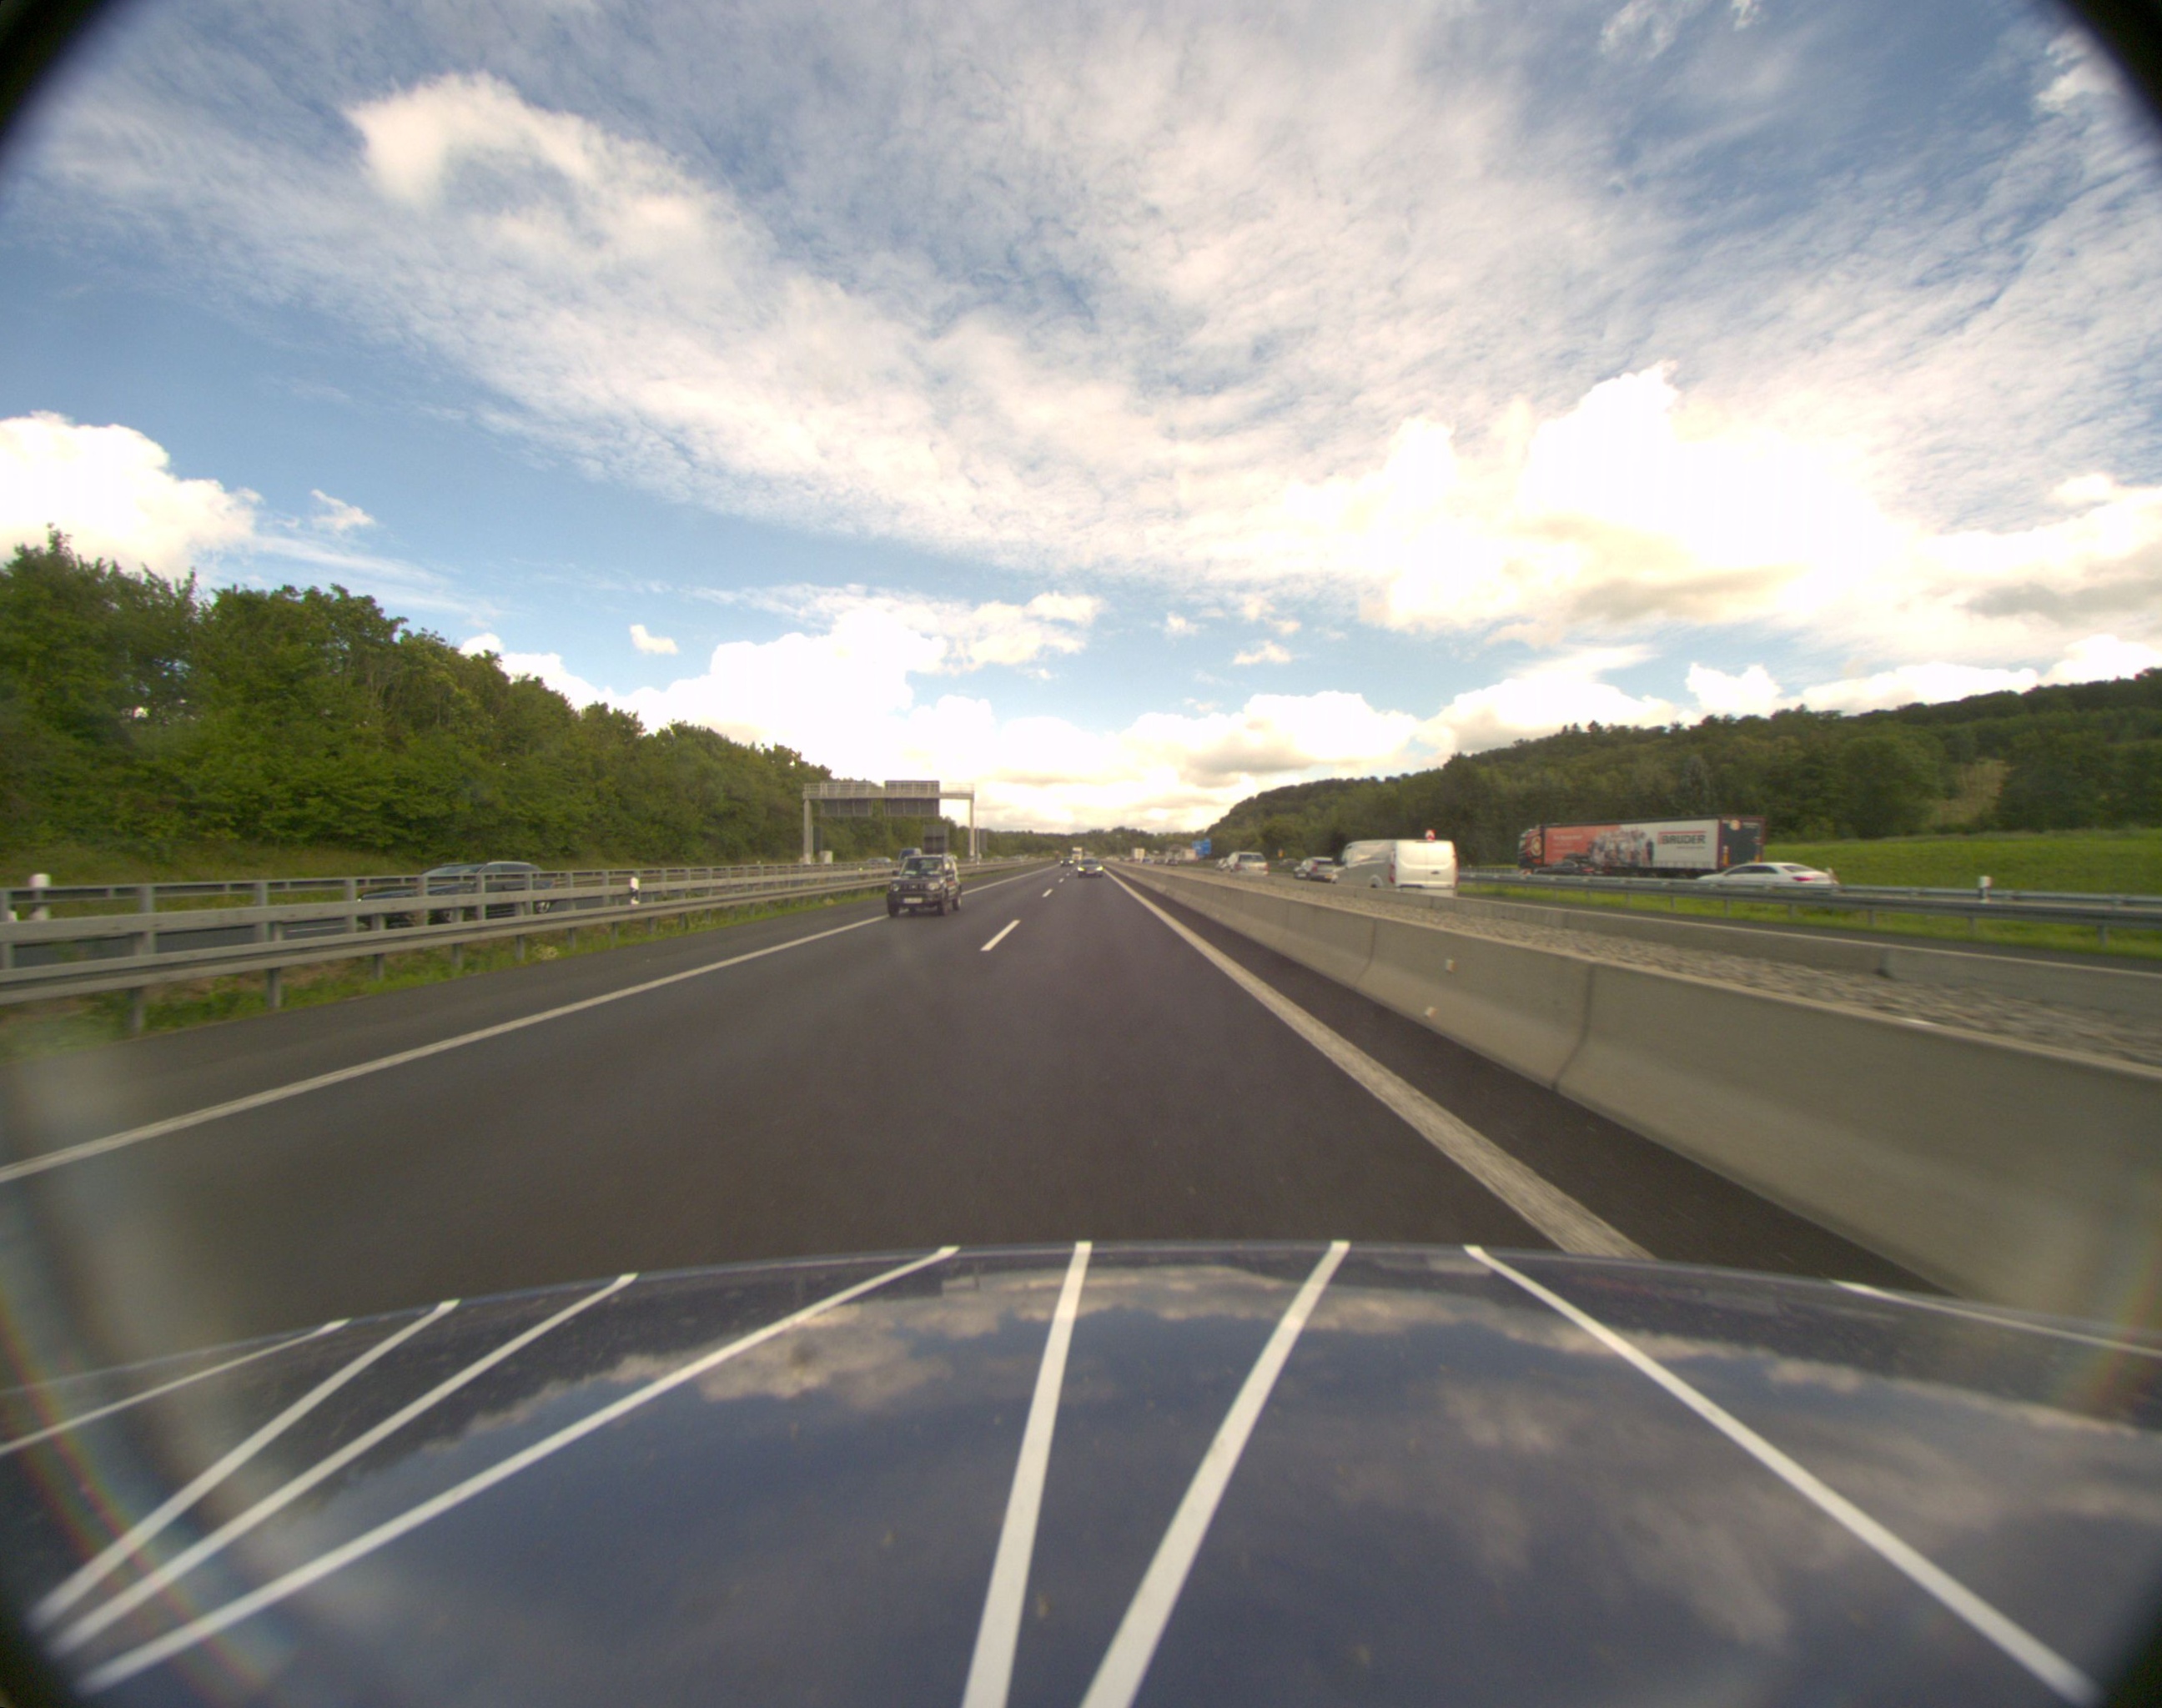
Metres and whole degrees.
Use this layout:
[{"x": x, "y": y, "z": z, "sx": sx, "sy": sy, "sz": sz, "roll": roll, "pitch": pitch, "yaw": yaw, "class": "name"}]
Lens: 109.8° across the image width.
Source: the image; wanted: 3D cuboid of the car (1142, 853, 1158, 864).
[{"x": 9.885, "y": 0.617, "z": 109.452, "sx": 1.932, "sy": 1.608, "sz": 5.418, "roll": 1, "pitch": 1, "yaw": 1, "class": "car"}]

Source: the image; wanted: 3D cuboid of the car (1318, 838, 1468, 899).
[{"x": 8.765, "y": 0.351, "z": 22.044, "sx": 1.998, "sy": 1.523, "sz": 5.747, "roll": 1, "pitch": 1, "yaw": 0, "class": "car"}]

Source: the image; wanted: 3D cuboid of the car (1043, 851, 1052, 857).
[{"x": -8.243, "y": 0.007, "z": 187.132, "sx": 1.998, "sy": 1.608, "sz": 5.002, "roll": 1, "pitch": 1, "yaw": 2, "class": "car"}]

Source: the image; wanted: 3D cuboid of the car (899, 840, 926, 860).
[{"x": -19.270, "y": -0.438, "z": 87.148, "sx": 1.999, "sy": 2.173, "sz": 5.127, "roll": -1, "pitch": 1, "yaw": 0, "class": "car"}]

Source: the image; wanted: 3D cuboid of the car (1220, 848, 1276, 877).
[{"x": 9.112, "y": 0.417, "z": 41.984, "sx": 1.998, "sy": 1.523, "sz": 5.021, "roll": 1, "pitch": 1, "yaw": 0, "class": "car"}]

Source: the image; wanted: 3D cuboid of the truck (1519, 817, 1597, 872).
[{"x": 33.765, "y": -0.658, "z": 54.011, "sx": 1.999, "sy": 3.740, "sz": 5.147, "roll": 1, "pitch": 1, "yaw": -4, "class": "truck"}]

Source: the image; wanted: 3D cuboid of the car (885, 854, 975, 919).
[{"x": -4.367, "y": 0.881, "z": 22.553, "sx": 1.670, "sy": 1.722, "sz": 4.207, "roll": 0, "pitch": 1, "yaw": 2, "class": "car"}]

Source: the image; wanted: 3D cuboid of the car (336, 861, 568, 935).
[{"x": -14.865, "y": 0.952, "z": 18.358, "sx": 1.999, "sy": 1.476, "sz": 4.310, "roll": -1, "pitch": 1, "yaw": 0, "class": "car"}]

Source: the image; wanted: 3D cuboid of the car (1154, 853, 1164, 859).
[{"x": 19.600, "y": 0.503, "z": 191.494, "sx": 1.998, "sy": 1.608, "sz": 5.002, "roll": 1, "pitch": 1, "yaw": 1, "class": "car"}]

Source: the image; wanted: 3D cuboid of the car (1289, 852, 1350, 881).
[{"x": 13.179, "y": 0.651, "z": 42.274, "sx": 1.998, "sy": 1.523, "sz": 4.507, "roll": 1, "pitch": 1, "yaw": 0, "class": "car"}]

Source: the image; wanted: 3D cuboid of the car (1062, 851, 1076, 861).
[{"x": -1.979, "y": 0.262, "z": 126.632, "sx": 1.998, "sy": 1.591, "sz": 4.001, "roll": 1, "pitch": 0, "yaw": 4, "class": "car"}]

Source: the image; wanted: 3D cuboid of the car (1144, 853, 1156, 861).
[{"x": 14.088, "y": 0.595, "z": 154.694, "sx": 1.998, "sy": 1.608, "sz": 5.002, "roll": 1, "pitch": 1, "yaw": 1, "class": "car"}]

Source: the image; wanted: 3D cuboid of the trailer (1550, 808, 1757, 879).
[{"x": 34.250, "y": -0.594, "z": 46.655, "sx": 1.999, "sy": 3.715, "sz": 13.239, "roll": 1, "pitch": 1, "yaw": -3, "class": "trailer"}]

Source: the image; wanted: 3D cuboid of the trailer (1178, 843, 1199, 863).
[{"x": 29.766, "y": -0.357, "z": 211.479, "sx": 3.117, "sy": 5.130, "sz": 14.713, "roll": 1, "pitch": 1, "yaw": -3, "class": "trailer"}]

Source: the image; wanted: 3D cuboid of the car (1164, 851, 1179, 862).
[{"x": 13.586, "y": 0.321, "z": 114.038, "sx": 1.805, "sy": 1.608, "sz": 4.301, "roll": 1, "pitch": 1, "yaw": 1, "class": "car"}]

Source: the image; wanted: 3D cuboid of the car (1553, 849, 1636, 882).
[{"x": 31.115, "y": 0.672, "z": 46.187, "sx": 1.777, "sy": 1.886, "sz": 4.396, "roll": 0, "pitch": 1, "yaw": -5, "class": "car"}]

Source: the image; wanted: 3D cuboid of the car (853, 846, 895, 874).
[{"x": -15.334, "y": 0.406, "z": 56.470, "sx": 1.998, "sy": 2.002, "sz": 4.000, "roll": 1, "pitch": 1, "yaw": 1, "class": "car"}]

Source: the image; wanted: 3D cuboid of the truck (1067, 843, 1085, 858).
[{"x": -1.395, "y": -1.052, "z": 225.461, "sx": 4.947, "sy": 4.306, "sz": 14.629, "roll": 1, "pitch": 1, "yaw": 2, "class": "truck"}]

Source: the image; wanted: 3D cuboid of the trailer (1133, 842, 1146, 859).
[{"x": 15.149, "y": -0.897, "z": 197.055, "sx": 2.494, "sy": 4.105, "sz": 13.282, "roll": 1, "pitch": 1, "yaw": 1, "class": "trailer"}]

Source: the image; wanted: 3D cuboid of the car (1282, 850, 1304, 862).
[{"x": 28.424, "y": 0.278, "z": 102.166, "sx": 1.805, "sy": 1.608, "sz": 4.301, "roll": 1, "pitch": 1, "yaw": 1, "class": "car"}]

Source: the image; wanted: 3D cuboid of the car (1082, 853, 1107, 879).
[{"x": 0.979, "y": 0.826, "z": 54.859, "sx": 1.724, "sy": 1.722, "sz": 3.939, "roll": 0, "pitch": 1, "yaw": 2, "class": "car"}]

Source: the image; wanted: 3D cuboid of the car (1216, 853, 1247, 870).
[{"x": 13.514, "y": 0.685, "z": 68.274, "sx": 1.998, "sy": 1.447, "sz": 4.180, "roll": 1, "pitch": 1, "yaw": 1, "class": "car"}]

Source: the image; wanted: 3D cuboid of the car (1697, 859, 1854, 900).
[{"x": 26.793, "y": 0.925, "z": 29.556, "sx": 1.778, "sy": 1.392, "sz": 4.395, "roll": 0, "pitch": 1, "yaw": -7, "class": "car"}]
